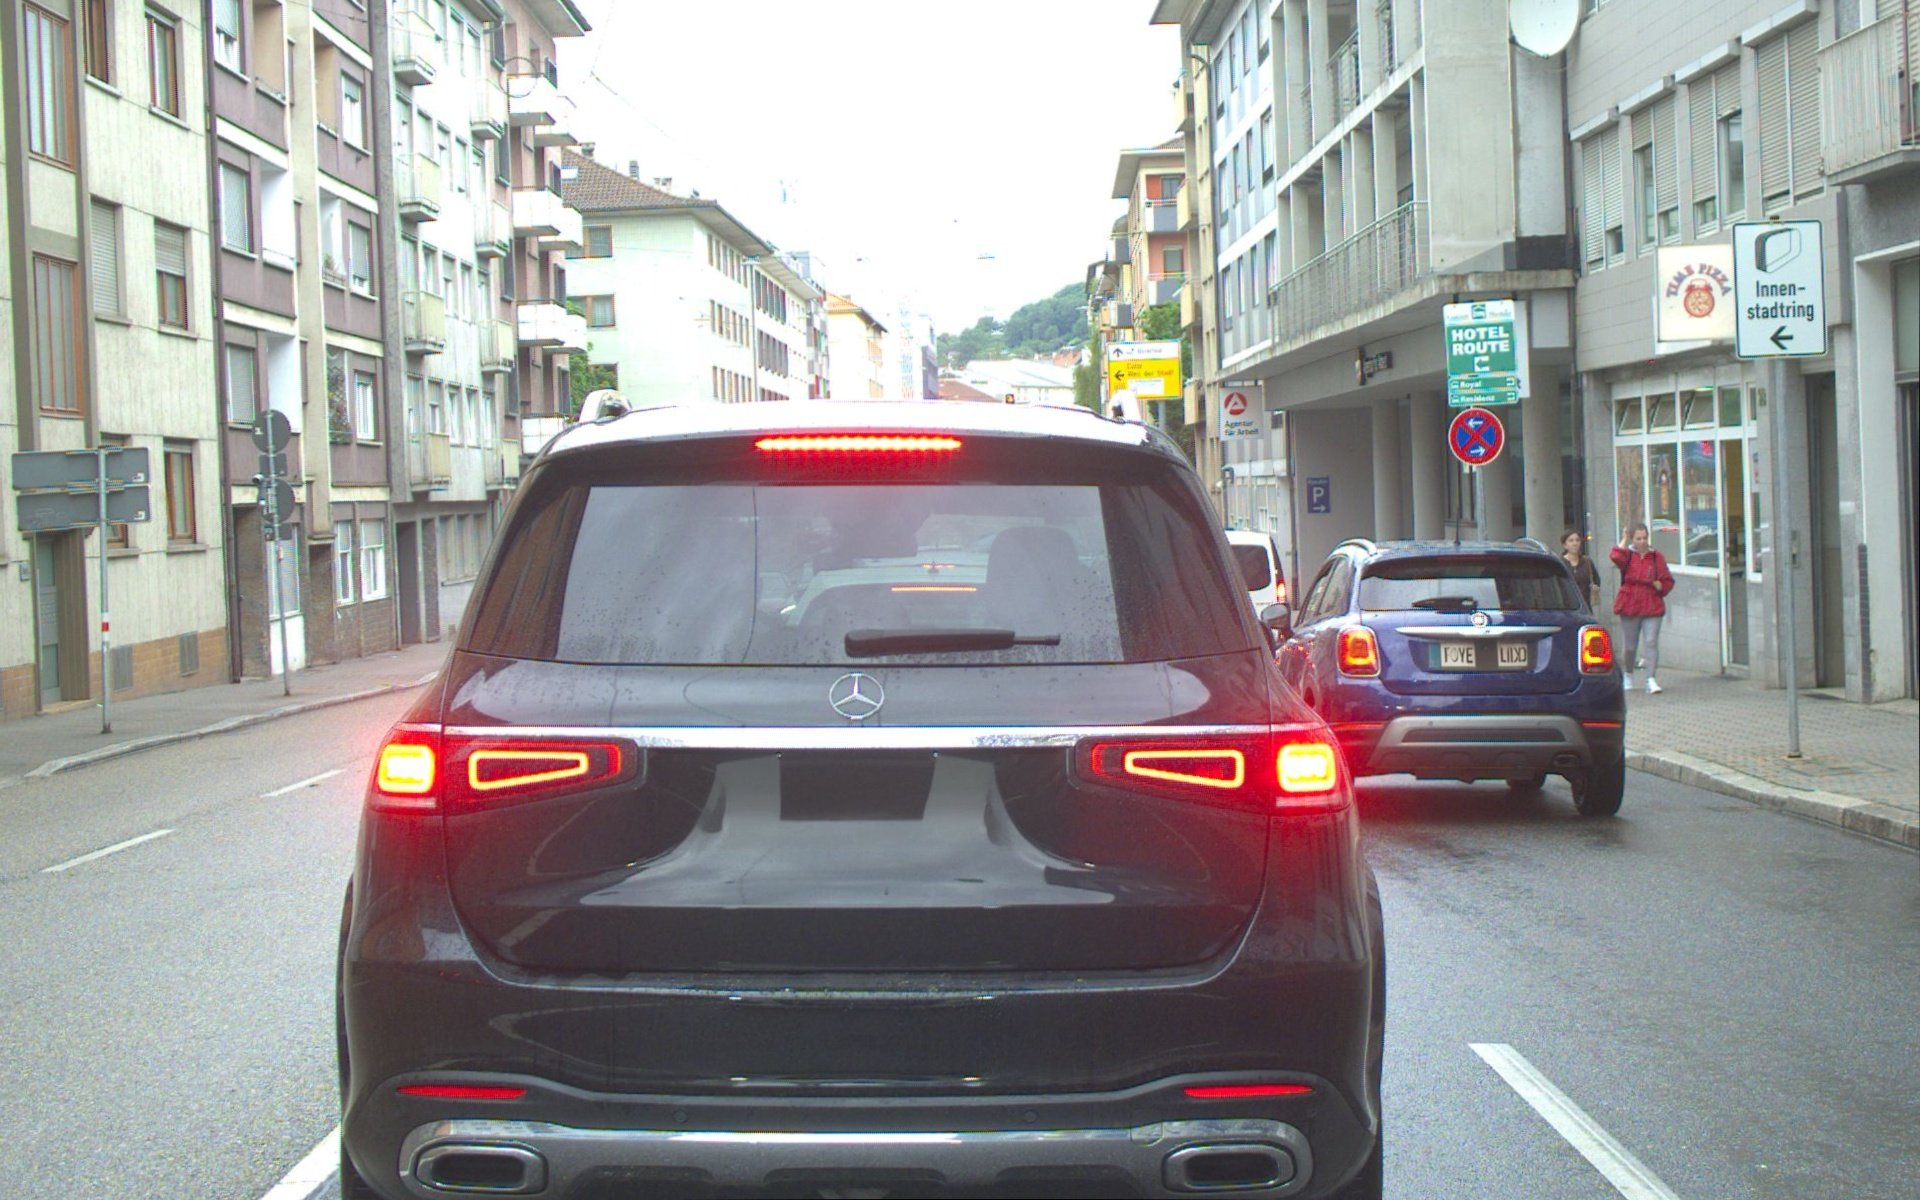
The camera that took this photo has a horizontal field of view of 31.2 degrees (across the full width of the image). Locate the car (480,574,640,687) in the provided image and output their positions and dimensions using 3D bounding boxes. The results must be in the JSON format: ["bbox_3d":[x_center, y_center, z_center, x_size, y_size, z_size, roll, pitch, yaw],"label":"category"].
[{"bbox_3d":[-5.543,0.393,48.076,1.767,1.341,3.889,-5,1,-1],"label":"car"}]

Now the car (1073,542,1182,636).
[{"bbox_3d":[2.935,-0.222,60.925,1.808,1.600,4.212,0,1,1],"label":"car"}]

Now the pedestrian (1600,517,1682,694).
[{"bbox_3d":[6.253,0.045,31.587,0.560,1.573,0.526,-4,1,2],"label":"pedestrian"}]

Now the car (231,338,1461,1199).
[{"bbox_3d":[-0.231,0.448,7.721,2.025,1.799,4.000,1,1,-1],"label":"car"}]

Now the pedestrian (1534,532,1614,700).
[{"bbox_3d":[5.641,0.144,31.590,0.506,1.495,0.562,-4,1,-3],"label":"pedestrian"}]

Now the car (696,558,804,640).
[{"bbox_3d":[-3.883,-0.048,64.126,1.724,1.385,4.339,-3,1,-1],"label":"car"}]

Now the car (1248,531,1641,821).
[{"bbox_3d":[2.826,0.386,20.869,1.767,1.575,4.000,-1,1,-1],"label":"car"}]

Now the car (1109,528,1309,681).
[{"bbox_3d":[2.994,0.018,42.219,1.940,1.769,4.747,0,1,-2],"label":"car"}]
